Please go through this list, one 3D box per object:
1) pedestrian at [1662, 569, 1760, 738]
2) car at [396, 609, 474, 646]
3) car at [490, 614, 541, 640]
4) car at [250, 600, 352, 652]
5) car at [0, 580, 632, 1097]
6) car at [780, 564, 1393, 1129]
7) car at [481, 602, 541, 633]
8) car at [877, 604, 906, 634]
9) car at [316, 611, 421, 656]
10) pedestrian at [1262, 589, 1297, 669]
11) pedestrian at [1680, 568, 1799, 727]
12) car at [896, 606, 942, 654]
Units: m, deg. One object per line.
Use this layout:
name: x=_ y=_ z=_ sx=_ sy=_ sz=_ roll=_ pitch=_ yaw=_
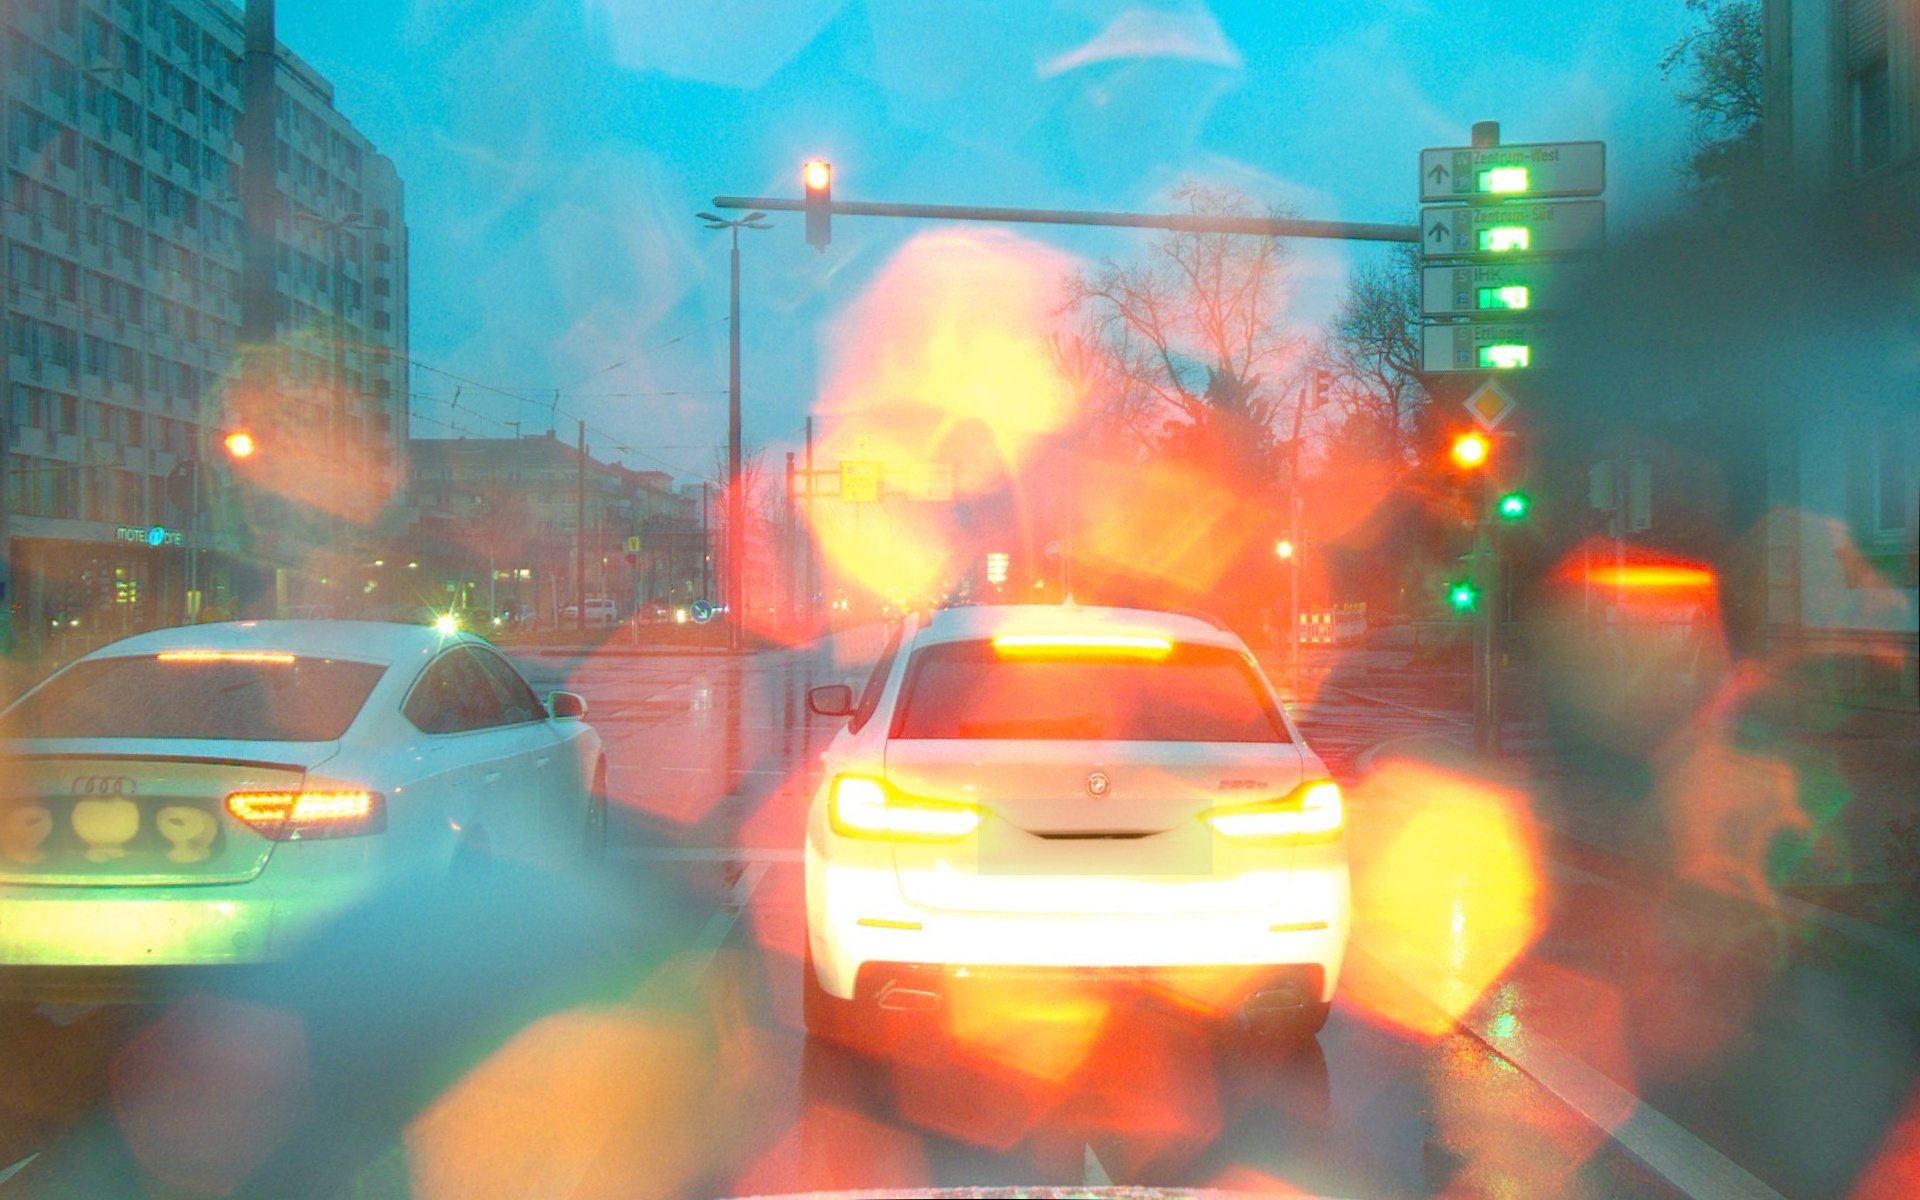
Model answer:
pedestrian: x=7.431 y=0.512 z=16.399 sx=0.765 sy=1.607 sz=1.011 roll=1 pitch=-1 yaw=19
car: x=-22.275 y=1.131 z=70.395 sx=1.954 sy=1.487 sz=5.091 roll=1 pitch=0 yaw=-4
car: x=-27.376 y=1.648 z=101.985 sx=1.954 sy=1.487 sz=5.092 roll=1 pitch=0 yaw=-3
car: x=-24.058 y=0.921 z=60.576 sx=1.843 sy=1.821 sz=4.598 roll=1 pitch=0 yaw=0
car: x=-2.573 y=0.704 z=6.932 sx=1.724 sy=1.495 sz=4.249 roll=1 pitch=0 yaw=-3
car: x=0.265 y=0.711 z=6.804 sx=1.724 sy=1.580 sz=4.249 roll=1 pitch=0 yaw=-3
car: x=-22.313 y=0.860 z=82.415 sx=1.954 sy=1.487 sz=5.090 roll=1 pitch=0 yaw=-5
car: x=-4.906 y=1.344 z=118.316 sx=1.953 sy=2.049 sz=3.999 roll=1 pitch=0 yaw=-1
car: x=-21.023 y=1.169 z=59.048 sx=1.953 sy=1.487 sz=5.094 roll=1 pitch=0 yaw=-1
pedestrian: x=7.726 y=0.704 z=39.977 sx=0.659 sy=1.912 sz=0.714 roll=1 pitch=-1 yaw=-3
pedestrian: x=8.452 y=0.503 z=17.965 sx=0.766 sy=1.661 sz=1.010 roll=1 pitch=-1 yaw=-4
car: x=-1.781 y=1.305 z=73.461 sx=1.953 sy=2.049 sz=3.999 roll=1 pitch=0 yaw=-1
